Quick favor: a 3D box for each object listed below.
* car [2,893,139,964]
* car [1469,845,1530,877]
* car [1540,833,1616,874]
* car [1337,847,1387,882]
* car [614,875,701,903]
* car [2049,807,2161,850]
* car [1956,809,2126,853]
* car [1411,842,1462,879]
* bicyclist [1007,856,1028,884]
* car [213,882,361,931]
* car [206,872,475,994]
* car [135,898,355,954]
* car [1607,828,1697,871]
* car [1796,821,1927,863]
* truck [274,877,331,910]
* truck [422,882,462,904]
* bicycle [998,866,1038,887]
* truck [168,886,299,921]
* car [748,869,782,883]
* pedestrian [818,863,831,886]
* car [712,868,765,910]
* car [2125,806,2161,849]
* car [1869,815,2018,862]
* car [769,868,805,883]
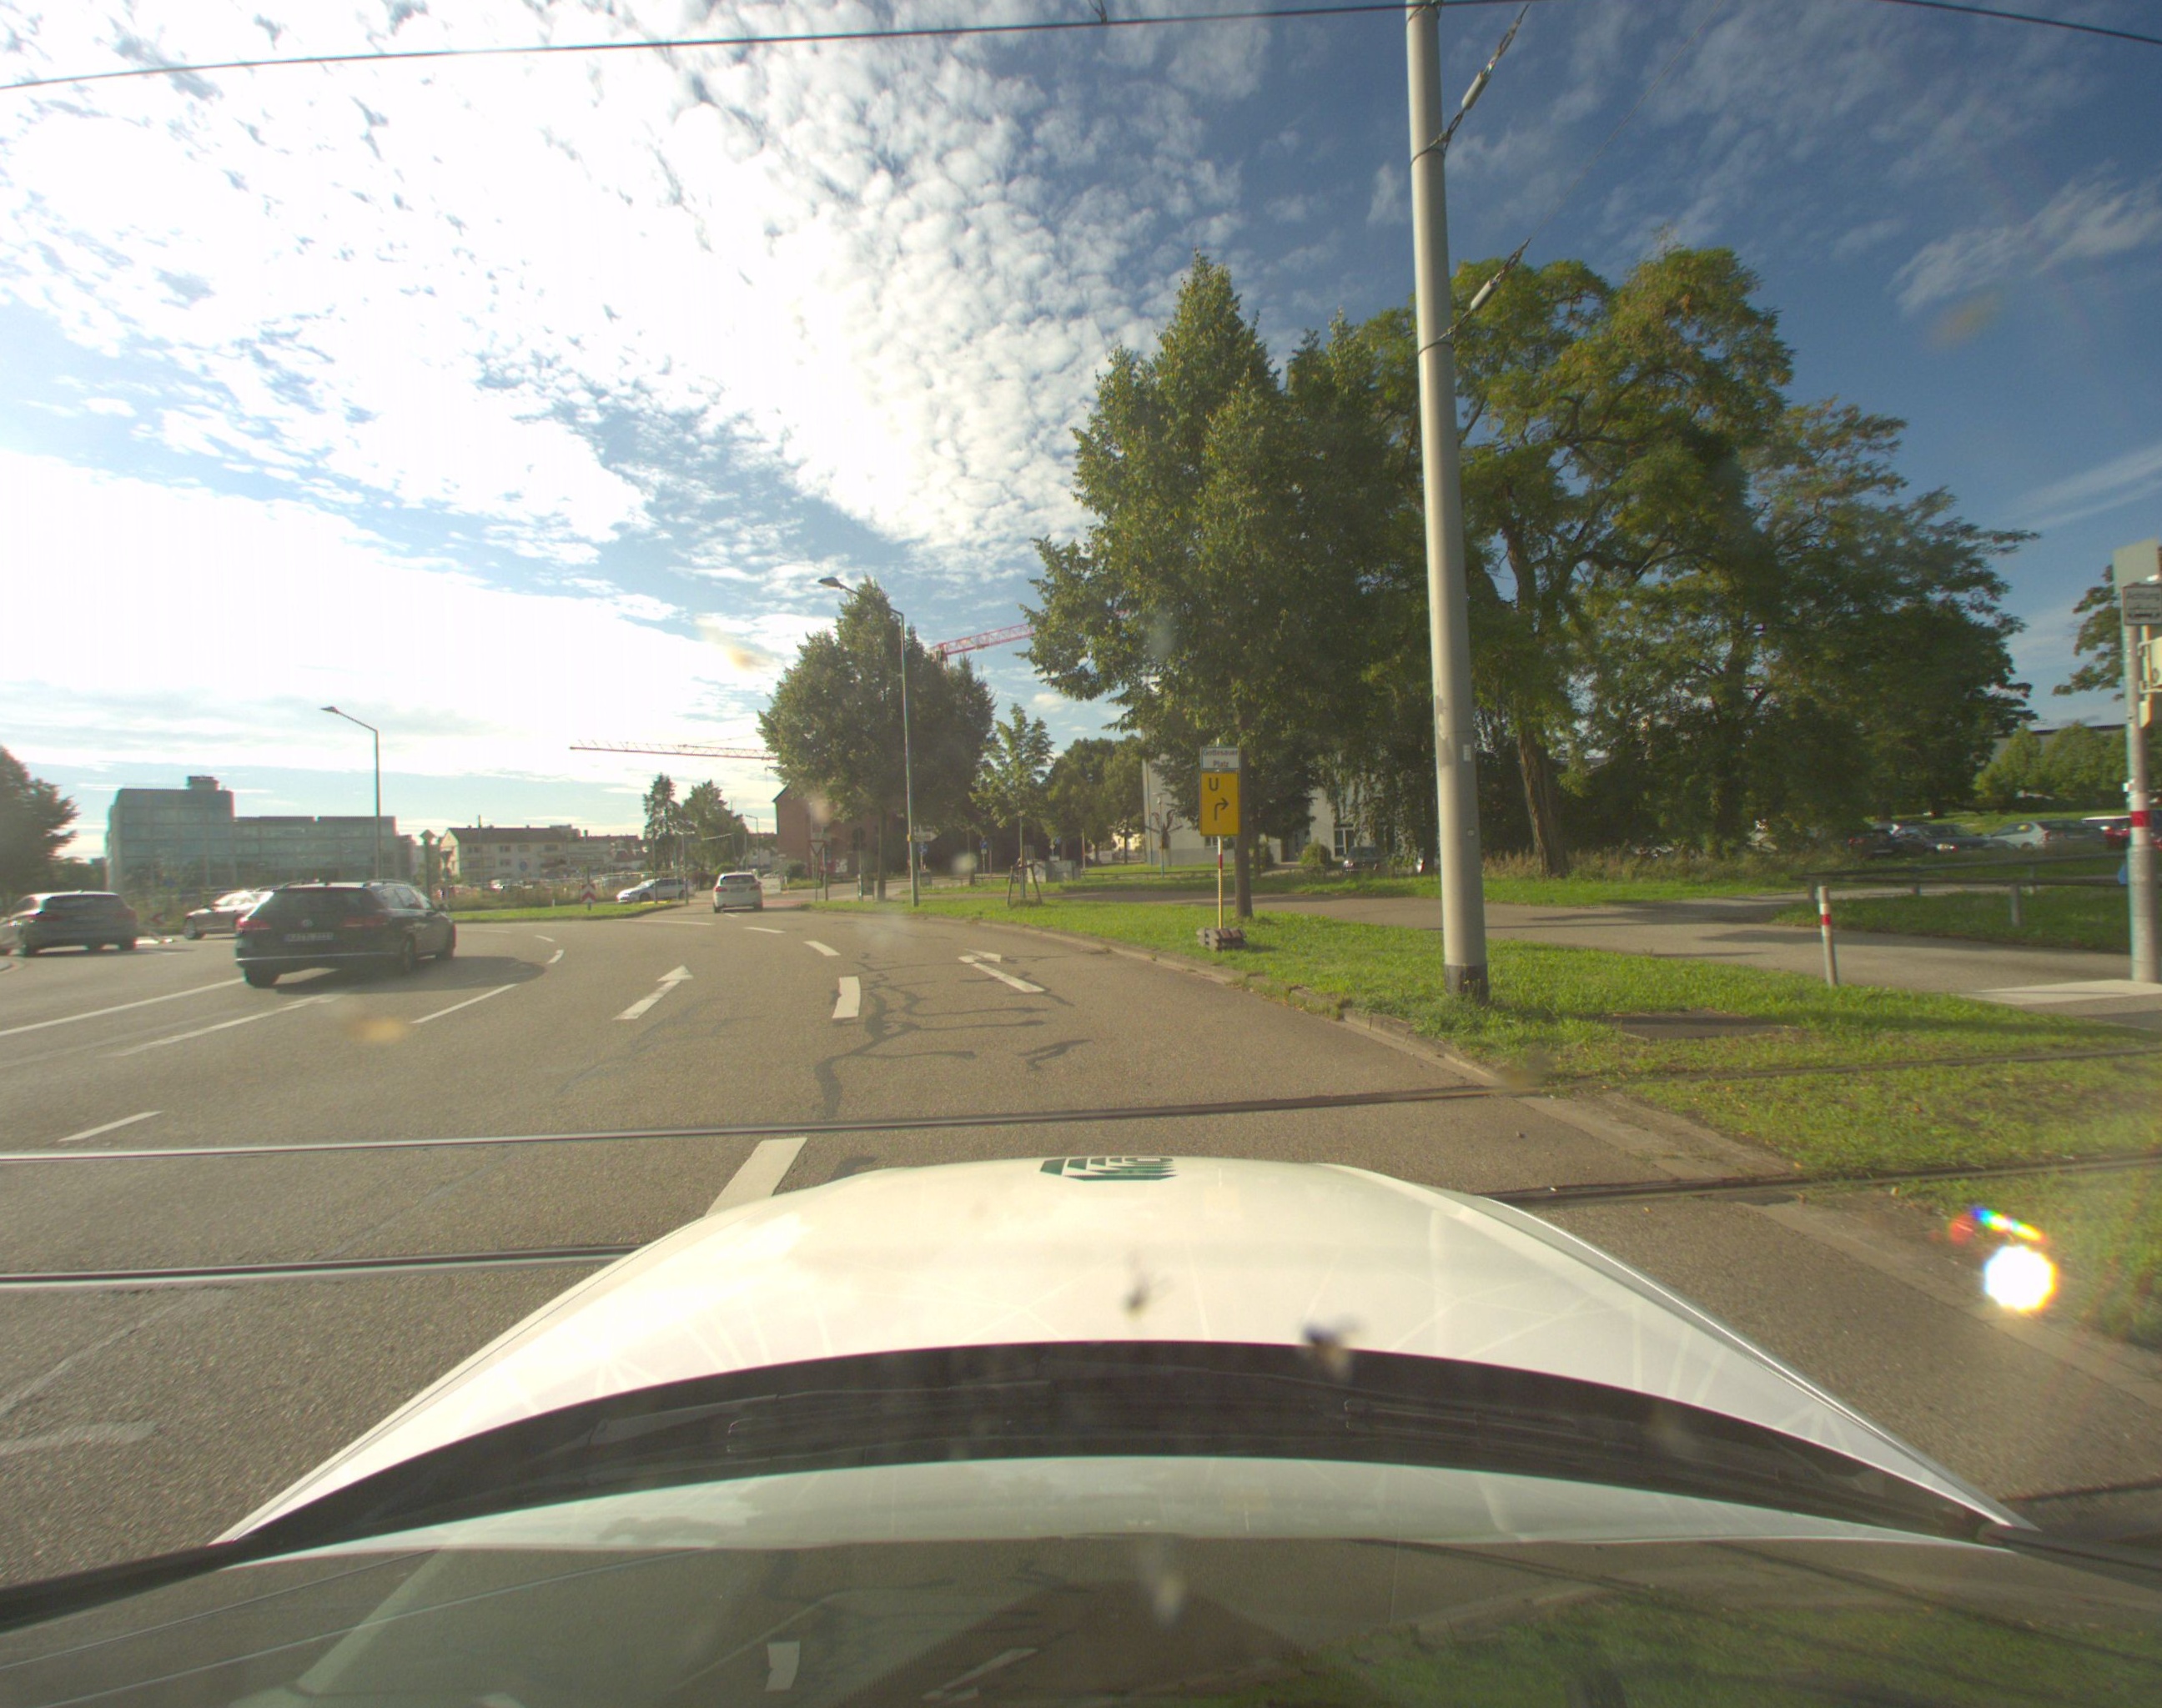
[{"bbox_3d":[-26.065,1.848,20.979,4.014,1.572,1.785,-2,-1,33],"label":"car"},{"bbox_3d":[17.937,0.249,35.072,1.839,1.207,4.759,-3,-1,21],"label":"car"},{"bbox_3d":[20.428,-0.028,33.693,1.839,1.515,4.759,-3,-1,21],"label":"car"},{"bbox_3d":[12.685,0.428,36.594,1.839,1.381,4.539,-3,-1,21],"label":"car"},{"bbox_3d":[-25.983,2.149,50.179,1.801,1.452,4.568,-3,0,24],"label":"car"},{"bbox_3d":[36.579,-0.889,28.290,1.839,1.362,4.493,-3,-1,21],"label":"car"},{"bbox_3d":[34.257,-0.778,29.297,1.839,1.358,4.859,-3,-1,21],"label":"car"},{"bbox_3d":[15.543,0.233,35.793,1.839,1.440,4.759,-3,-1,21],"label":"car"},{"bbox_3d":[-3.679,0.949,47.250,0.948,1.575,0.777,-2,0,25],"label":"bicyclist"},{"bbox_3d":[-35.850,2.301,36.973,4.686,1.903,1.879,-1,-1,-42],"label":"car"},{"bbox_3d":[-11.832,1.112,13.483,2.004,1.566,4.803,0,-1,-26],"label":"car"},{"bbox_3d":[-26.113,2.228,25.583,4.639,1.431,1.898,-1,0,-6],"label":"car"},{"bbox_3d":[22.875,-0.196,32.821,1.839,1.515,4.759,-3,-1,21],"label":"car"},{"bbox_3d":[29.186,-0.434,30.659,1.839,1.359,4.759,-3,-1,21],"label":"car"},{"bbox_3d":[-82.696,4.217,86.475,7.220,3.207,2.835,-3,-1,34],"label":"truck"},{"bbox_3d":[-75.906,4.647,96.769,5.565,2.328,2.077,-3,-1,34],"label":"truck"},{"bbox_3d":[-3.660,1.292,47.246,2.123,1.137,0.777,-2,0,25],"label":"bicycle"},{"bbox_3d":[-76.822,4.408,73.972,3.034,2.567,7.911,-3,-1,38],"label":"truck"},{"bbox_3d":[-42.090,2.896,108.524,4.006,1.618,1.759,-3,-1,-25],"label":"car"},{"bbox_3d":[-21.556,1.684,68.437,0.664,1.871,0.836,-3,-1,3],"label":"pedestrian"},{"bbox_3d":[-14.075,1.377,33.454,1.859,1.572,4.420,-1,0,-23],"label":"car"},{"bbox_3d":[38.494,-0.964,27.378,1.839,1.515,4.971,-3,-1,21],"label":"car"},{"bbox_3d":[31.463,-0.541,29.921,1.839,1.515,4.773,-3,-1,21],"label":"car"},{"bbox_3d":[-37.547,2.728,104.115,3.993,1.618,1.765,-3,-1,-14],"label":"car"}]
